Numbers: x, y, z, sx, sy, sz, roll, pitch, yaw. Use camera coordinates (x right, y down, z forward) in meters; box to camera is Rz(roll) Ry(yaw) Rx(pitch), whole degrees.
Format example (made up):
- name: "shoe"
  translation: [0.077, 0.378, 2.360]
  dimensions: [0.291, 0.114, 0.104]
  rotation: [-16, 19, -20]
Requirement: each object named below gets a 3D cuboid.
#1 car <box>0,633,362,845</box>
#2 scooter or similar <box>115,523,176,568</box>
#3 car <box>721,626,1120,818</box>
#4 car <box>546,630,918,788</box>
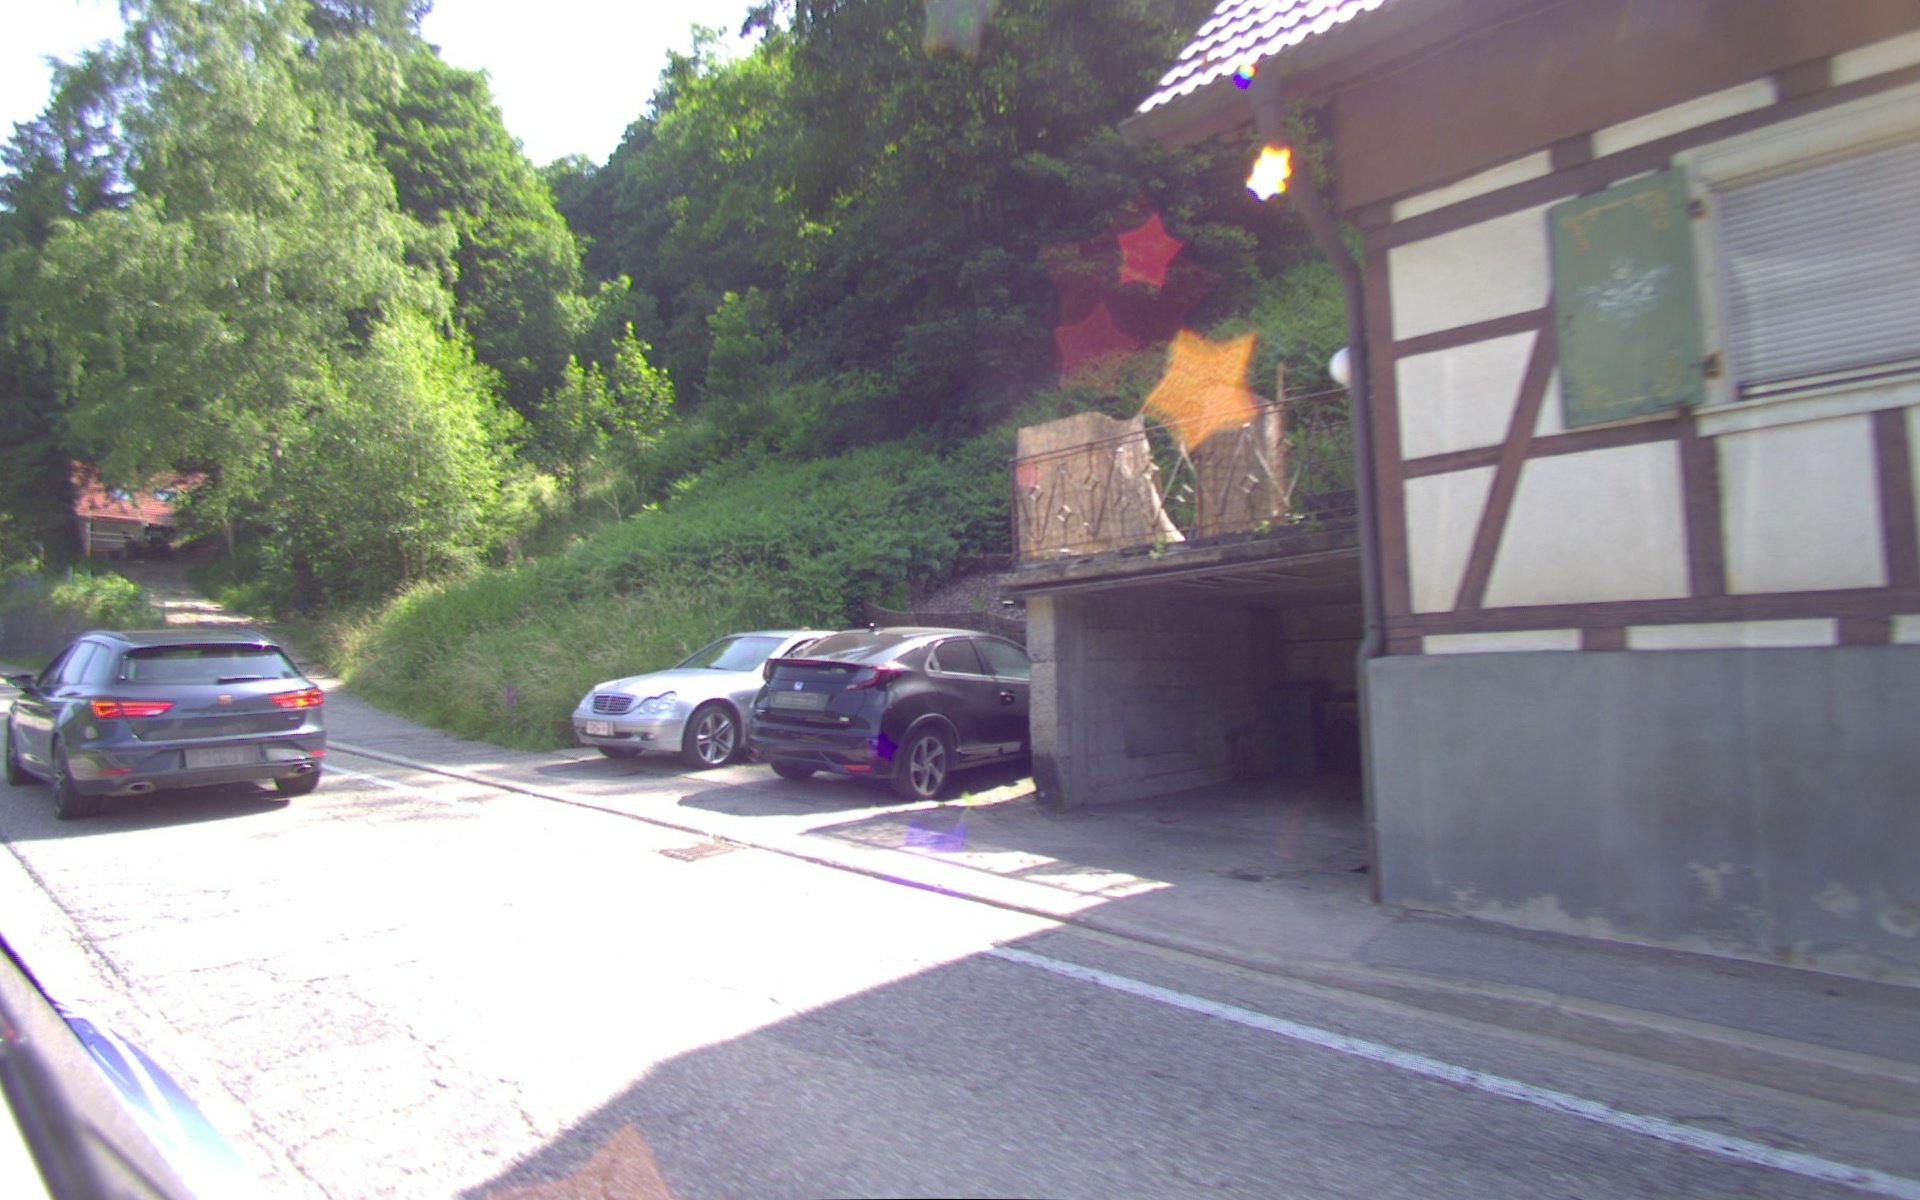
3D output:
- name: "car"
  translation: [-6.993, 1.007, 8.863]
  dimensions: [4.141, 1.407, 1.747]
  rotation: [-2, -2, 40]
- name: "scooter or similar"
  translation: [-42.652, -2.818, 52.960]
  dimensions: [1.955, 2.042, 4.407]
  rotation: [-4, 2, -45]
- name: "car"
  translation: [-0.197, 1.035, 9.811]
  dimensions: [1.861, 1.444, 3.779]
  rotation: [-1, -3, 38]
- name: "car"
  translation: [-2.383, 1.056, 11.353]
  dimensions: [1.854, 1.427, 3.780]
  rotation: [-1, -2, 38]
